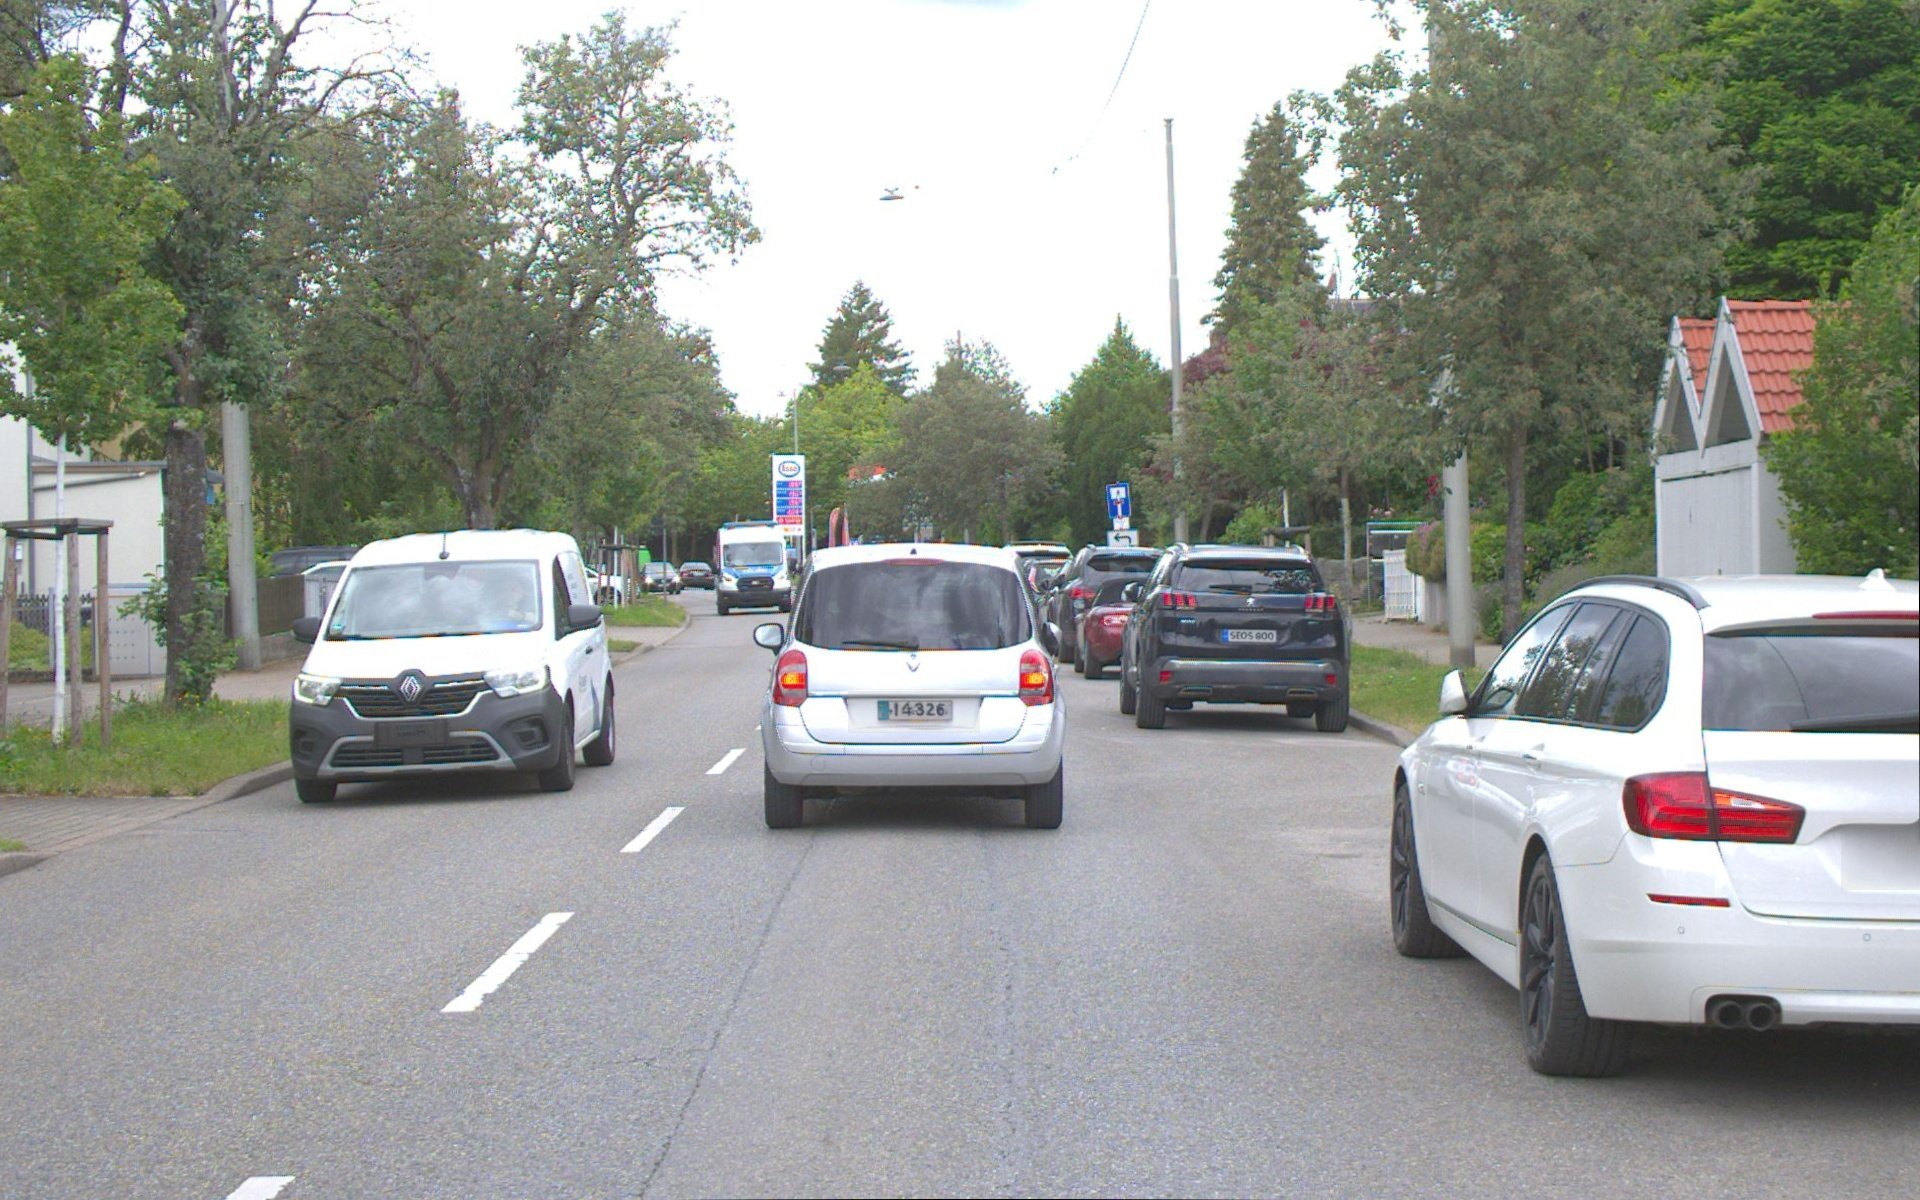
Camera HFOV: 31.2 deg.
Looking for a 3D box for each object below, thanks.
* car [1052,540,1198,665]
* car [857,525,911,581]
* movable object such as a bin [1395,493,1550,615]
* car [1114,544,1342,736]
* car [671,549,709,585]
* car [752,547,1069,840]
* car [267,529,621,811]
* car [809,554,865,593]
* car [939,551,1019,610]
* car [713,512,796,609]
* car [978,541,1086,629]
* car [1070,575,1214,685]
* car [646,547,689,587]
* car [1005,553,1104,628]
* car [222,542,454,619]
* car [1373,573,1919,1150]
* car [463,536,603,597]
[{"bbox_3d":[2.331,0.006,49.611,1.830,1.706,4.549,0,1,0],"label":"car"},{"bbox_3d":[-4.012,-2.454,180.366,2.281,2.901,5.280,1,0,-7],"label":"car"},{"bbox_3d":[8.695,-0.780,58.440,2.310,2.007,1.343,1,0,-5],"label":"movable object such as a bin"},{"bbox_3d":[2.364,0.314,31.199,1.688,1.603,4.109,1,1,-1],"label":"car"},{"bbox_3d":[-13.581,-1.656,172.768,1.835,1.708,4.001,-2,1,-5],"label":"car"},{"bbox_3d":[-0.256,0.471,20.004,1.679,1.554,3.512,0,1,0],"label":"car"},{"bbox_3d":[-3.493,0.410,24.016,1.795,1.746,4.299,-2,1,0],"label":"car"},{"bbox_3d":[-4.823,-1.061,134.435,1.695,1.501,3.974,0,1,-9],"label":"car"},{"bbox_3d":[0.465,-0.521,88.808,1.626,1.447,3.876,-2,1,-6],"label":"car"},{"bbox_3d":[-5.783,-1.125,97.417,2.073,2.574,5.300,-3,1,-2],"label":"car"},{"bbox_3d":[1.501,-0.336,73.020,1.799,1.772,4.706,1,1,-5],"label":"car"},{"bbox_3d":[2.211,0.344,42.633,1.481,1.232,3.884,2,1,-1],"label":"car"},{"bbox_3d":[-13.059,-1.498,153.515,1.835,1.708,4.001,-2,1,-5],"label":"car"},{"bbox_3d":[1.851,-0.200,68.266,1.558,1.438,3.507,1,1,-5],"label":"car"},{"bbox_3d":[-11.985,-0.371,66.444,4.277,1.363,1.817,1,0,-7],"label":"car"},{"bbox_3d":[2.485,0.673,11.150,1.693,1.448,4.405,1,1,-1],"label":"car"},{"bbox_3d":[-12.918,-1.013,104.102,4.086,1.700,1.748,2,1,-4],"label":"car"}]
